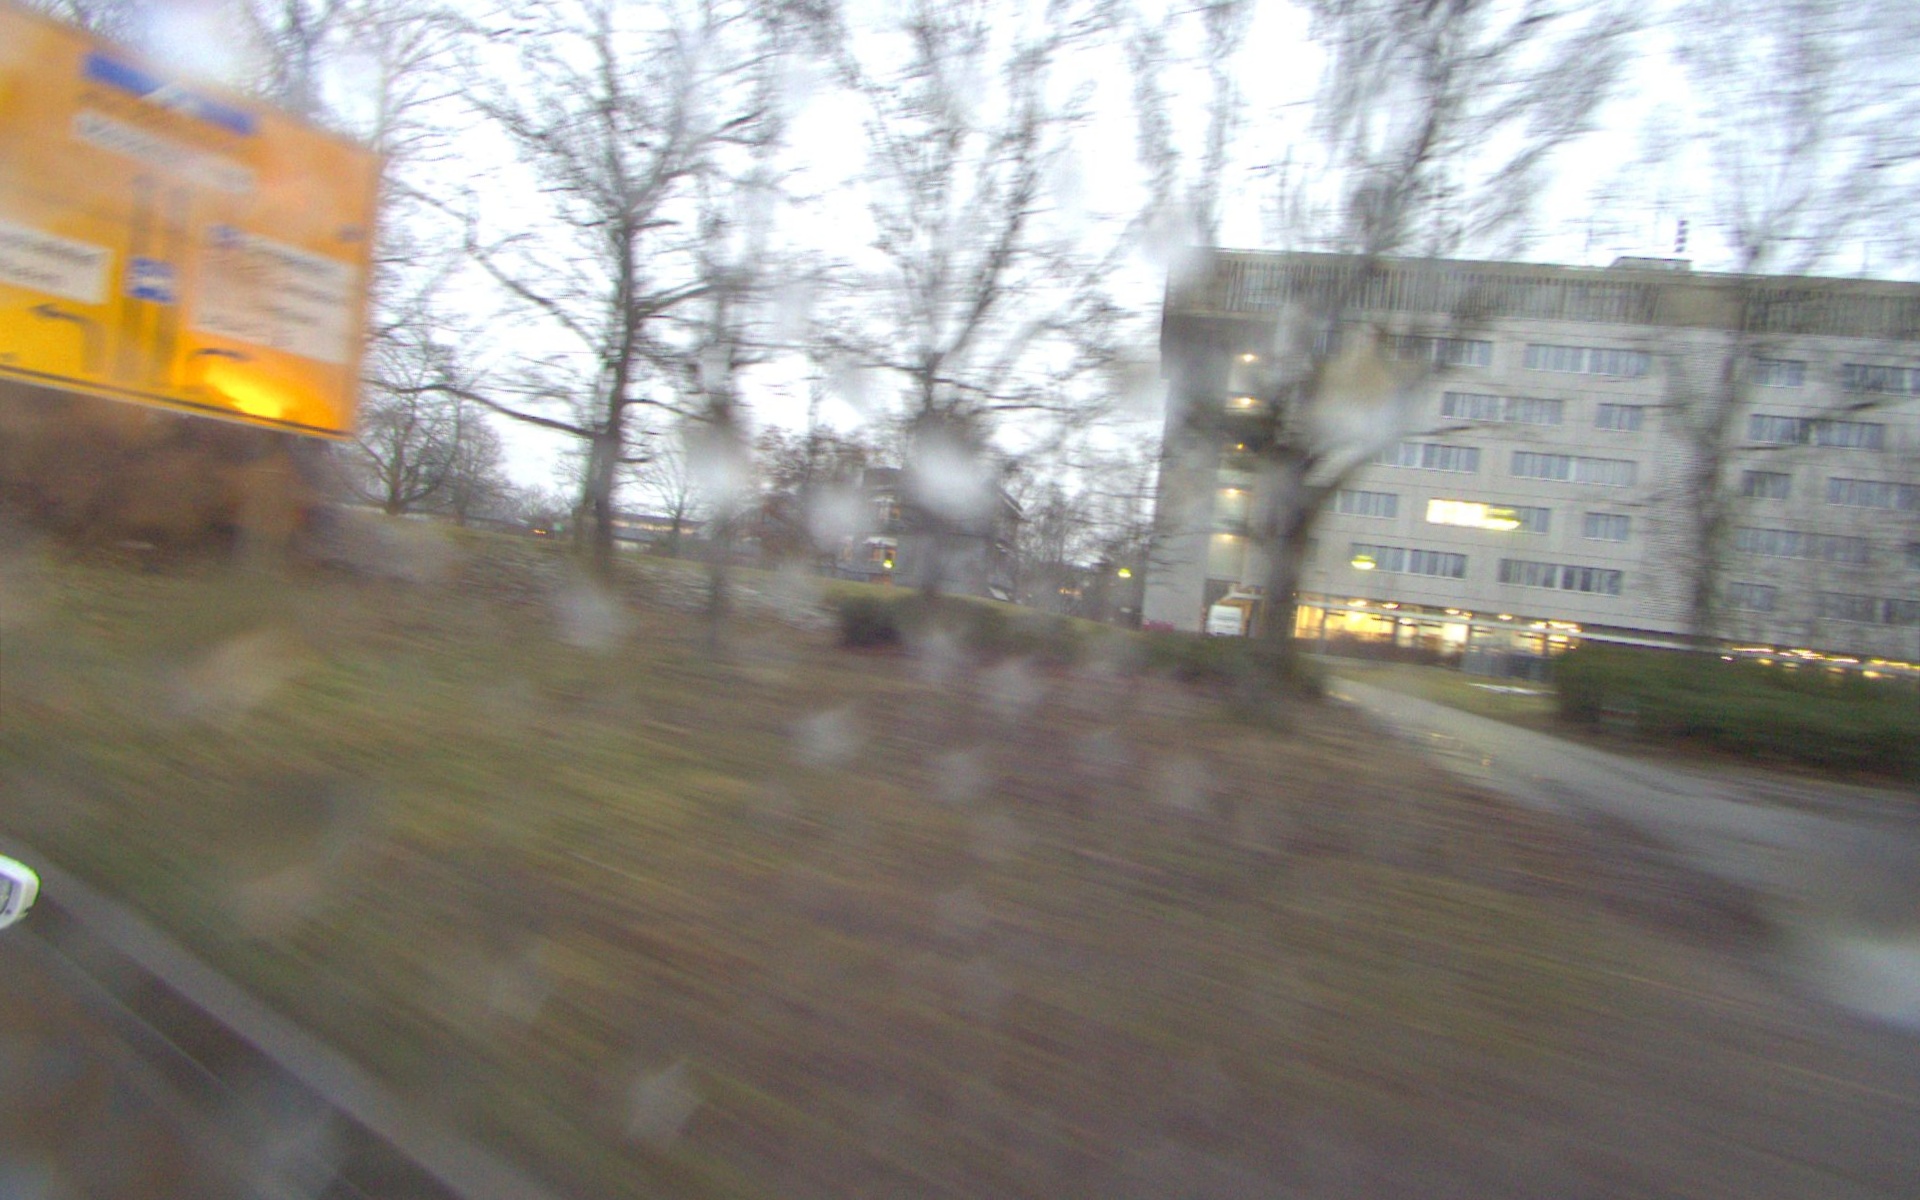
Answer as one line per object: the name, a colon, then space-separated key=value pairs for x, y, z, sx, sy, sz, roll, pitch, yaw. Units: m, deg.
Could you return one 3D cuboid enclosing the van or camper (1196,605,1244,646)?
van or camper: x=17.269 y=1.700 z=66.954 sx=2.094 sy=2.374 sz=4.480 roll=7 pitch=0 yaw=4
